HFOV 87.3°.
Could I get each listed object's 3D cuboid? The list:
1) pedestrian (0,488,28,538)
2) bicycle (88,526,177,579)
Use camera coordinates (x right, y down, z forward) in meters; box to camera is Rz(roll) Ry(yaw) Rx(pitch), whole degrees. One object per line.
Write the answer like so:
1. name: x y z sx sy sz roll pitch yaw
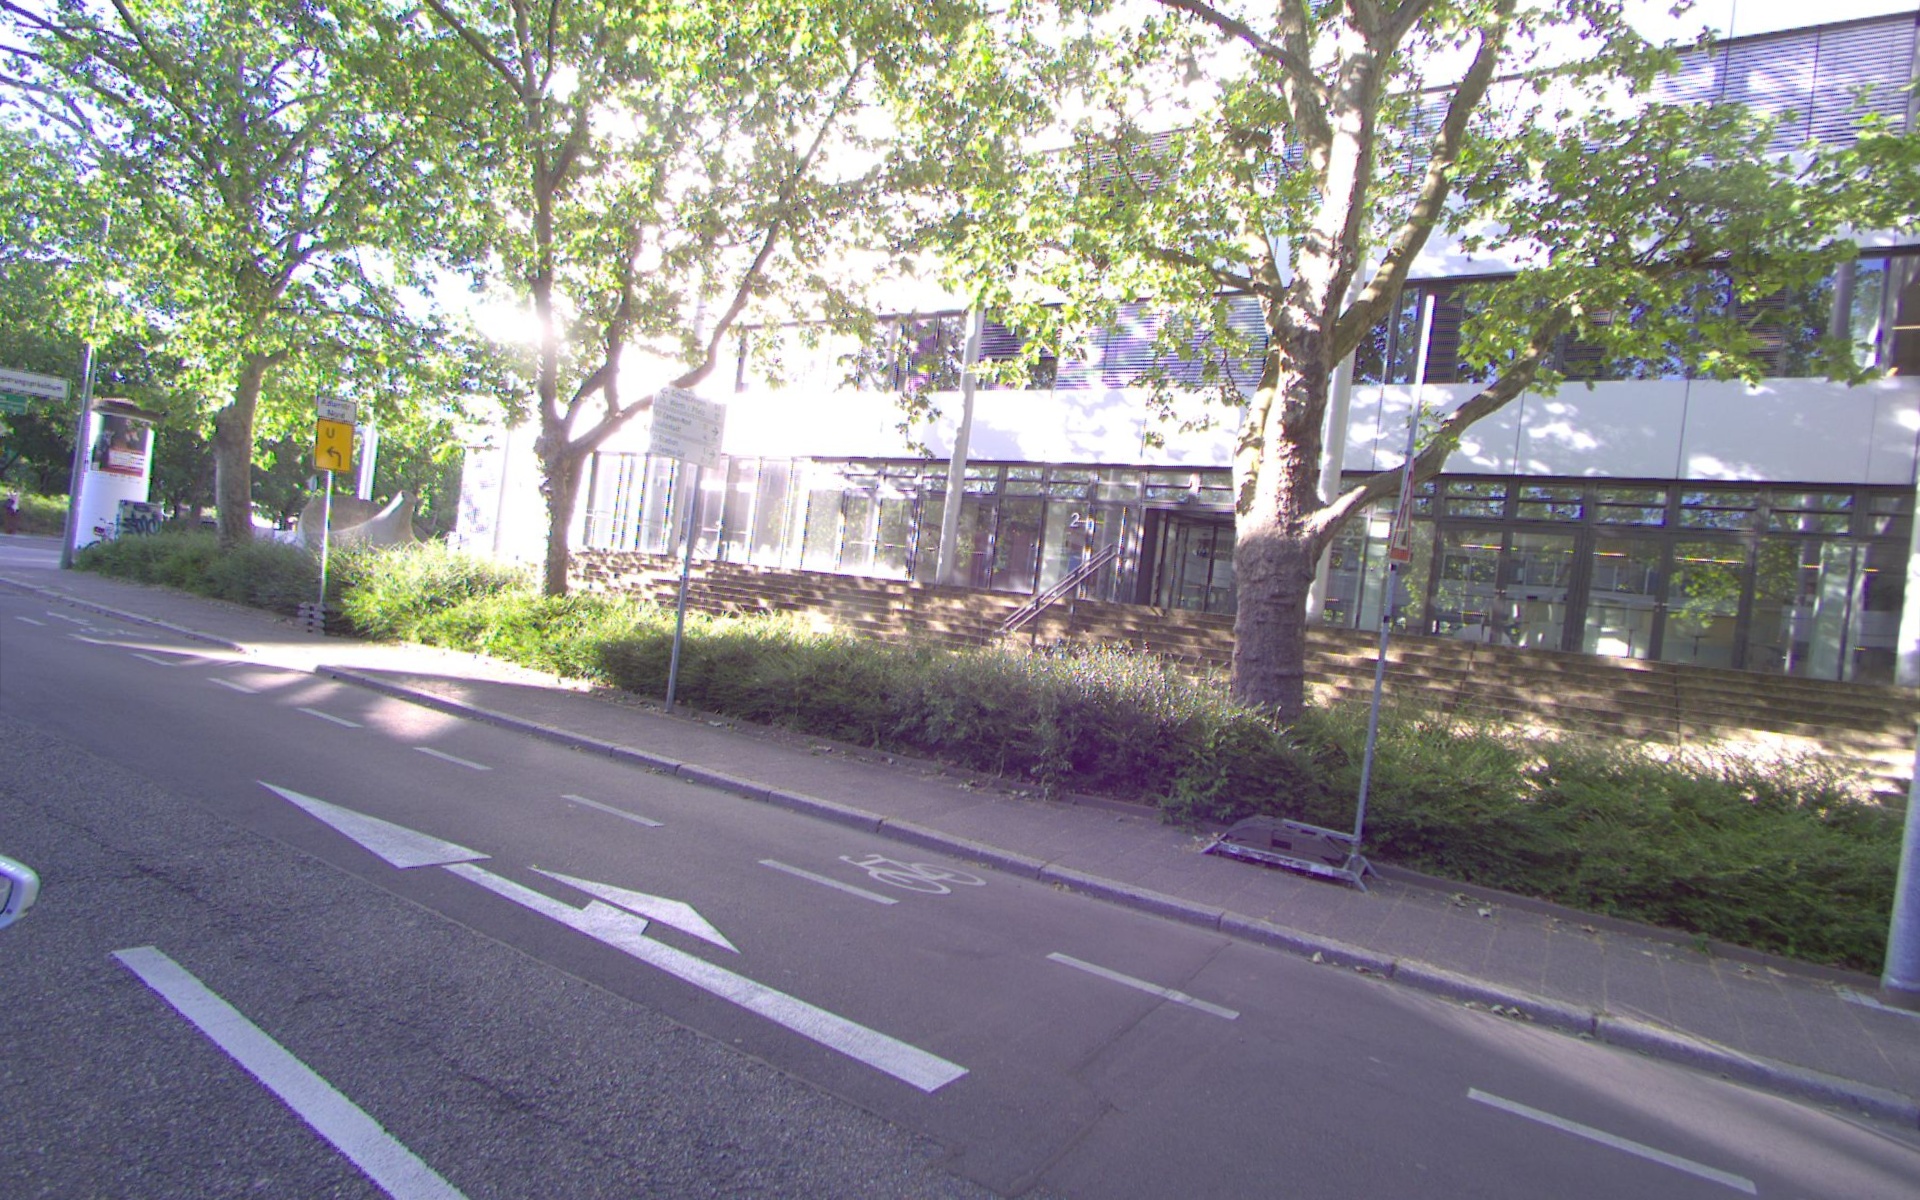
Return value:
1. pedestrian: -36.244 -3.306 38.398 0.672 1.793 0.613 8 -1 -29
2. bicycle: -19.046 -1.072 23.179 0.295 0.991 1.484 6 -2 37
